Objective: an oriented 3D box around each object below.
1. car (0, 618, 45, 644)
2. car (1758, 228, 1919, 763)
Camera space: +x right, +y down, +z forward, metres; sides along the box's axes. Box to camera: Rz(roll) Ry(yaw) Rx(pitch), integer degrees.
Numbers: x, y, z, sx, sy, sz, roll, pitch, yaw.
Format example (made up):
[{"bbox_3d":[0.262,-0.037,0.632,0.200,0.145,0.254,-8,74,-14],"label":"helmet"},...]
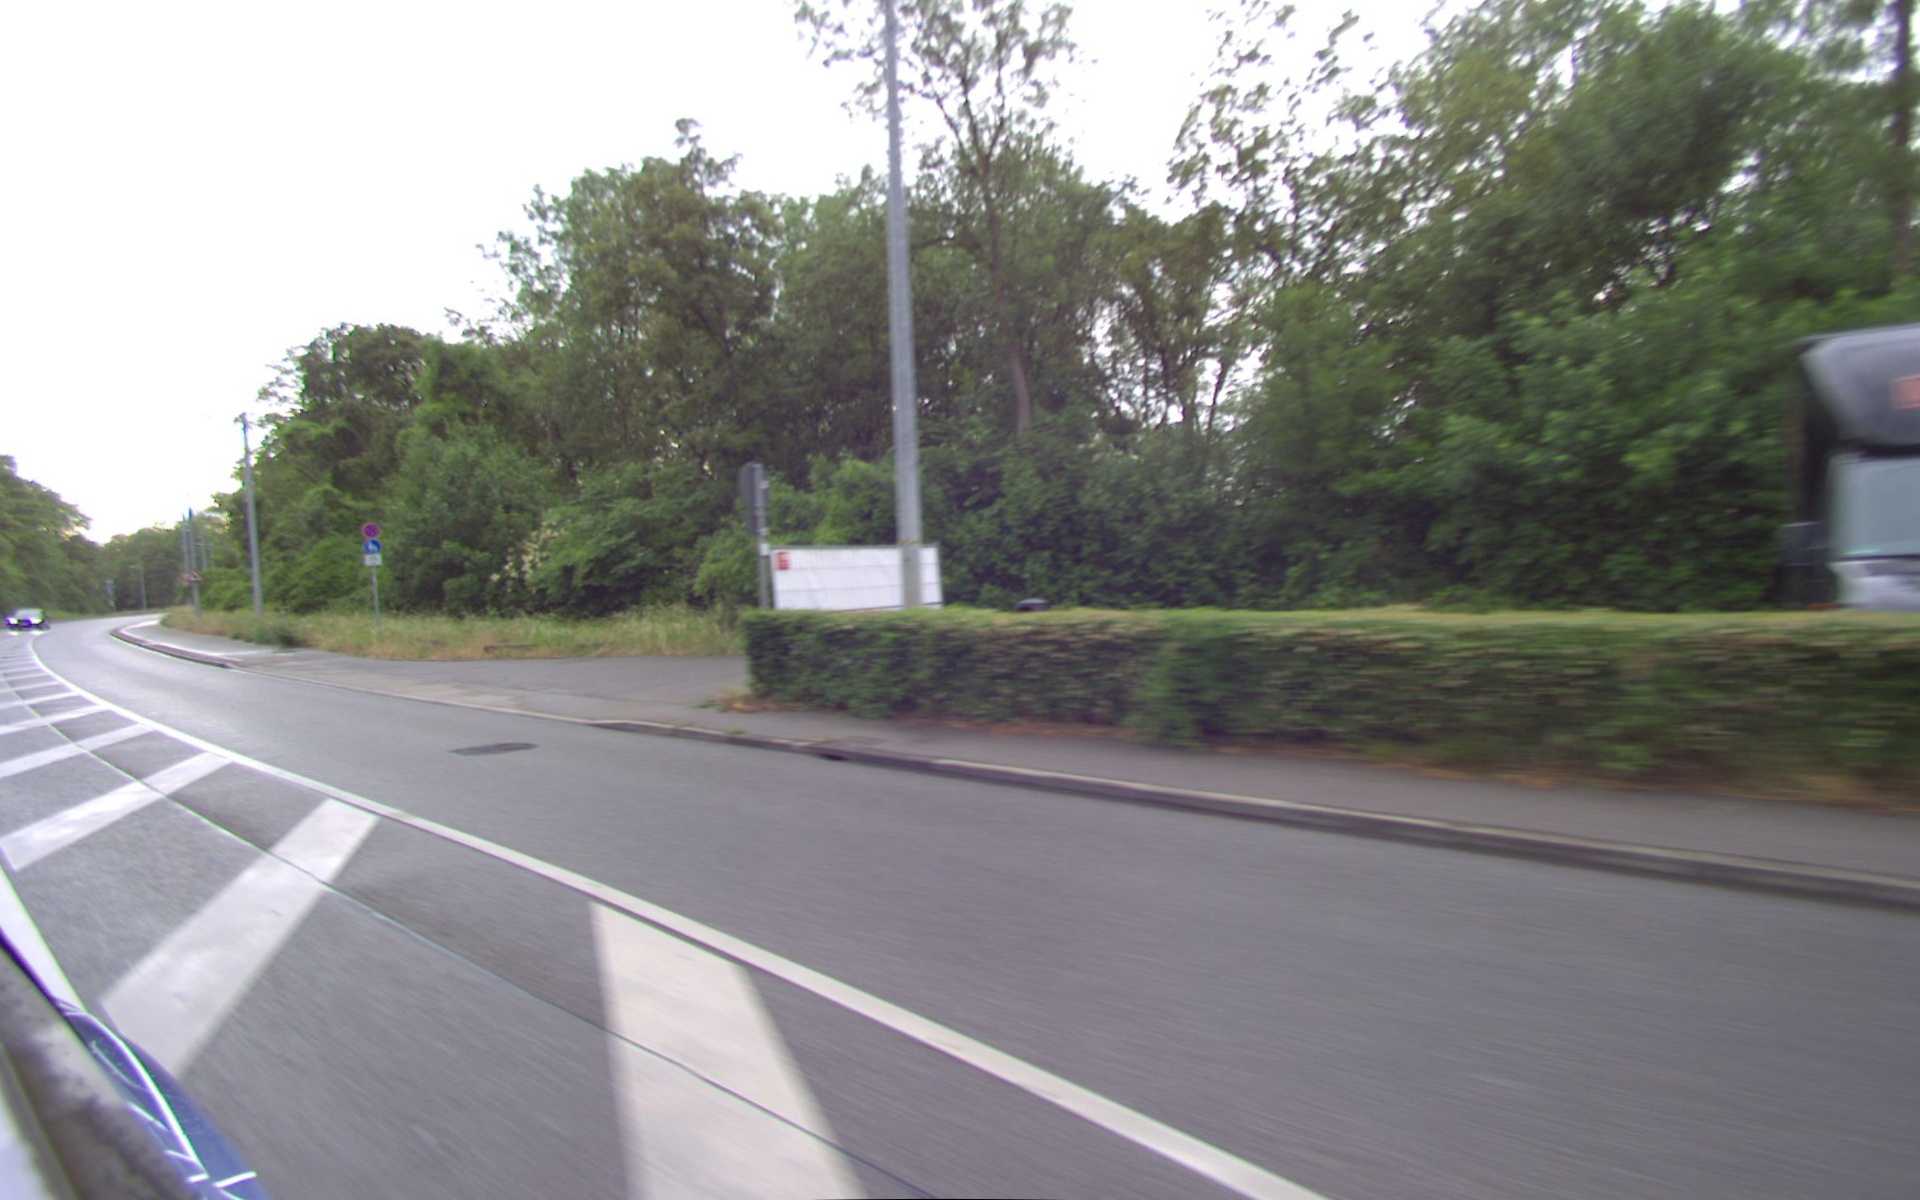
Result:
[{"bbox_3d":[-65.489,2.122,70.729,1.968,1.696,4.007,-2,1,-39],"label":"car"},{"bbox_3d":[8.158,-0.718,7.928,2.747,3.136,6.216,0,2,36],"label":"car"}]
